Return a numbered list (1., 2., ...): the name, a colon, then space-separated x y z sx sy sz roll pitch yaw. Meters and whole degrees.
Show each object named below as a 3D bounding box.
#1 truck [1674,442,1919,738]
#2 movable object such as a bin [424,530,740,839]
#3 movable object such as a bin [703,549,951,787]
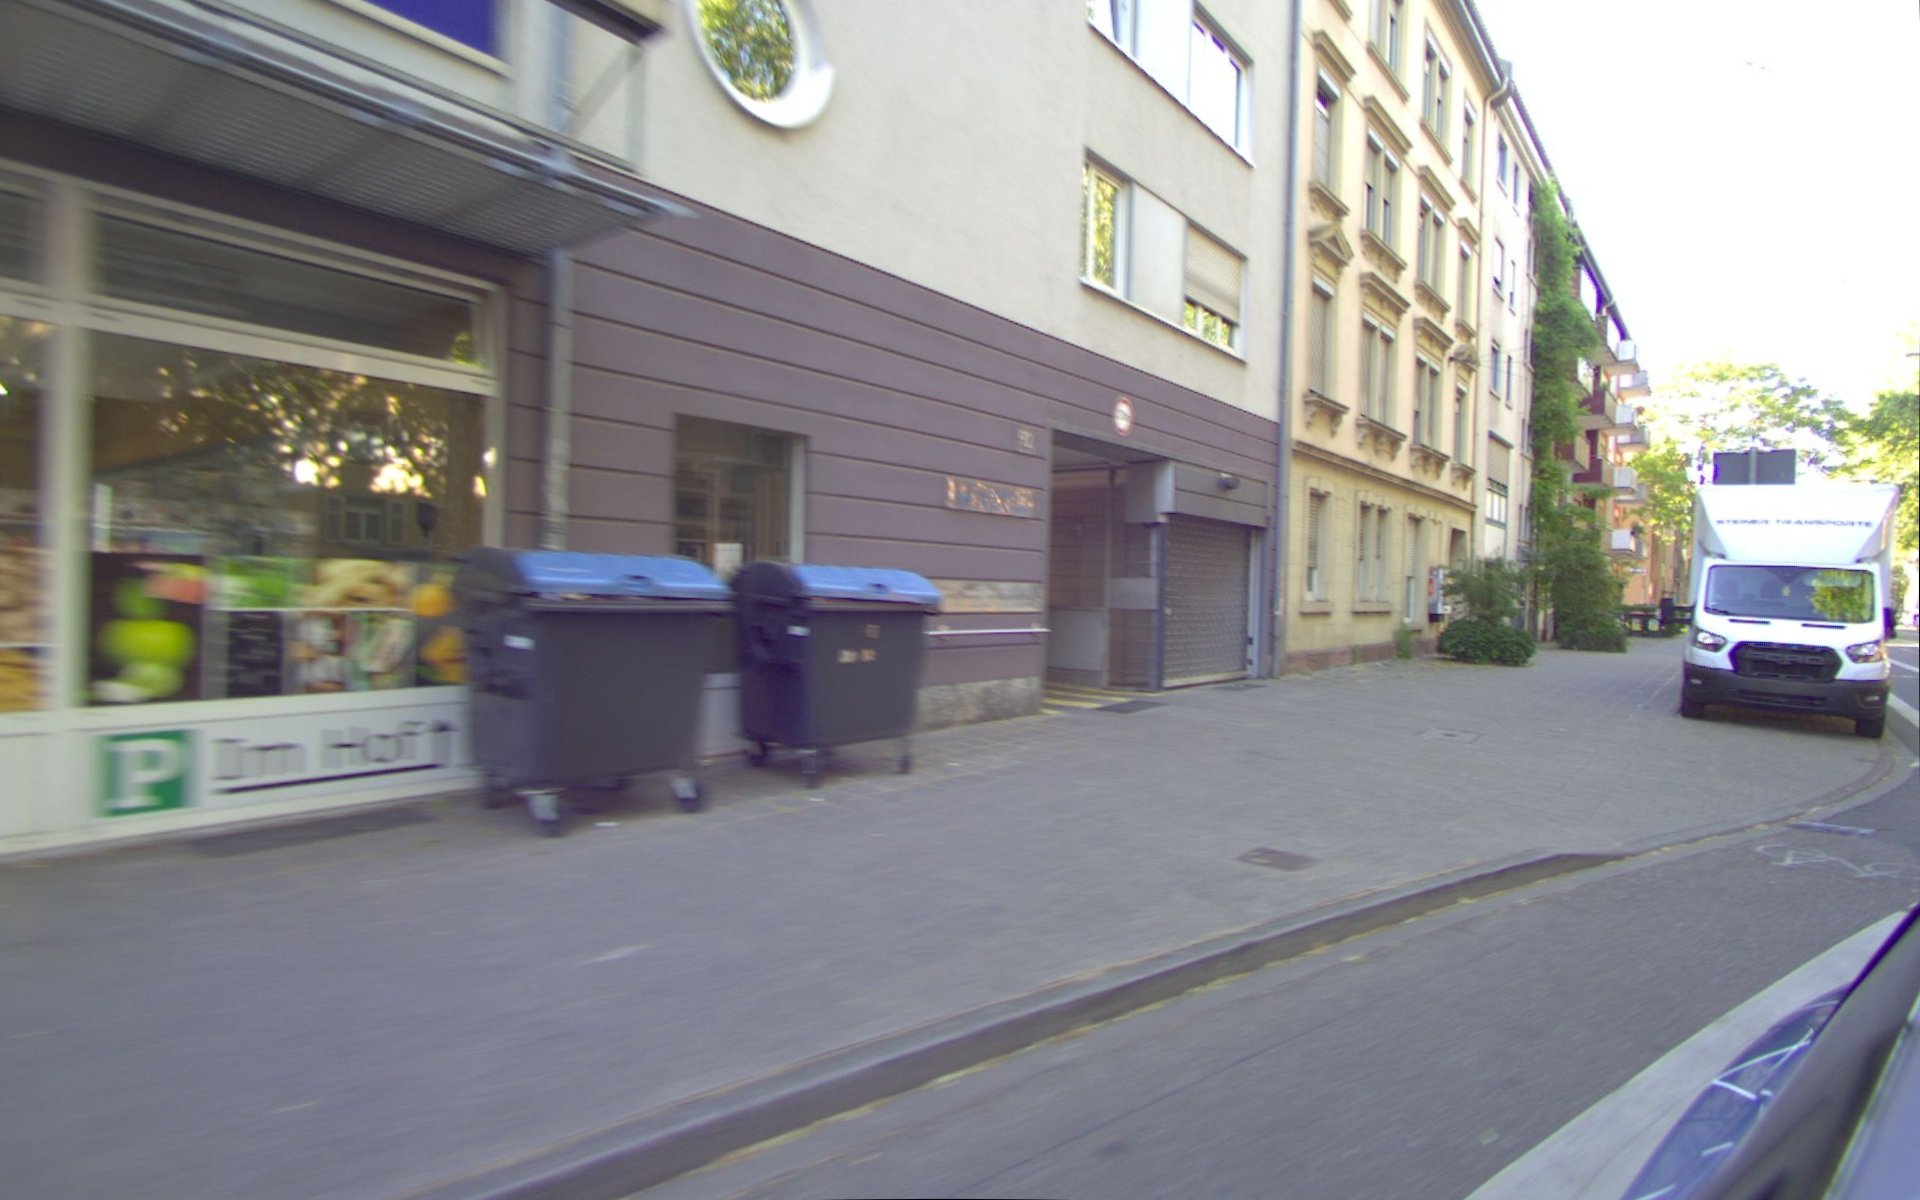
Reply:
1. truck: 12.251 -0.208 15.007 2.373 3.222 8.418 6 4 36
2. movable object such as a bin: -2.083 0.382 5.628 1.066 1.464 1.277 2 1 41
3. movable object such as a bin: -0.927 0.403 7.100 1.285 1.464 1.121 1 1 -45
